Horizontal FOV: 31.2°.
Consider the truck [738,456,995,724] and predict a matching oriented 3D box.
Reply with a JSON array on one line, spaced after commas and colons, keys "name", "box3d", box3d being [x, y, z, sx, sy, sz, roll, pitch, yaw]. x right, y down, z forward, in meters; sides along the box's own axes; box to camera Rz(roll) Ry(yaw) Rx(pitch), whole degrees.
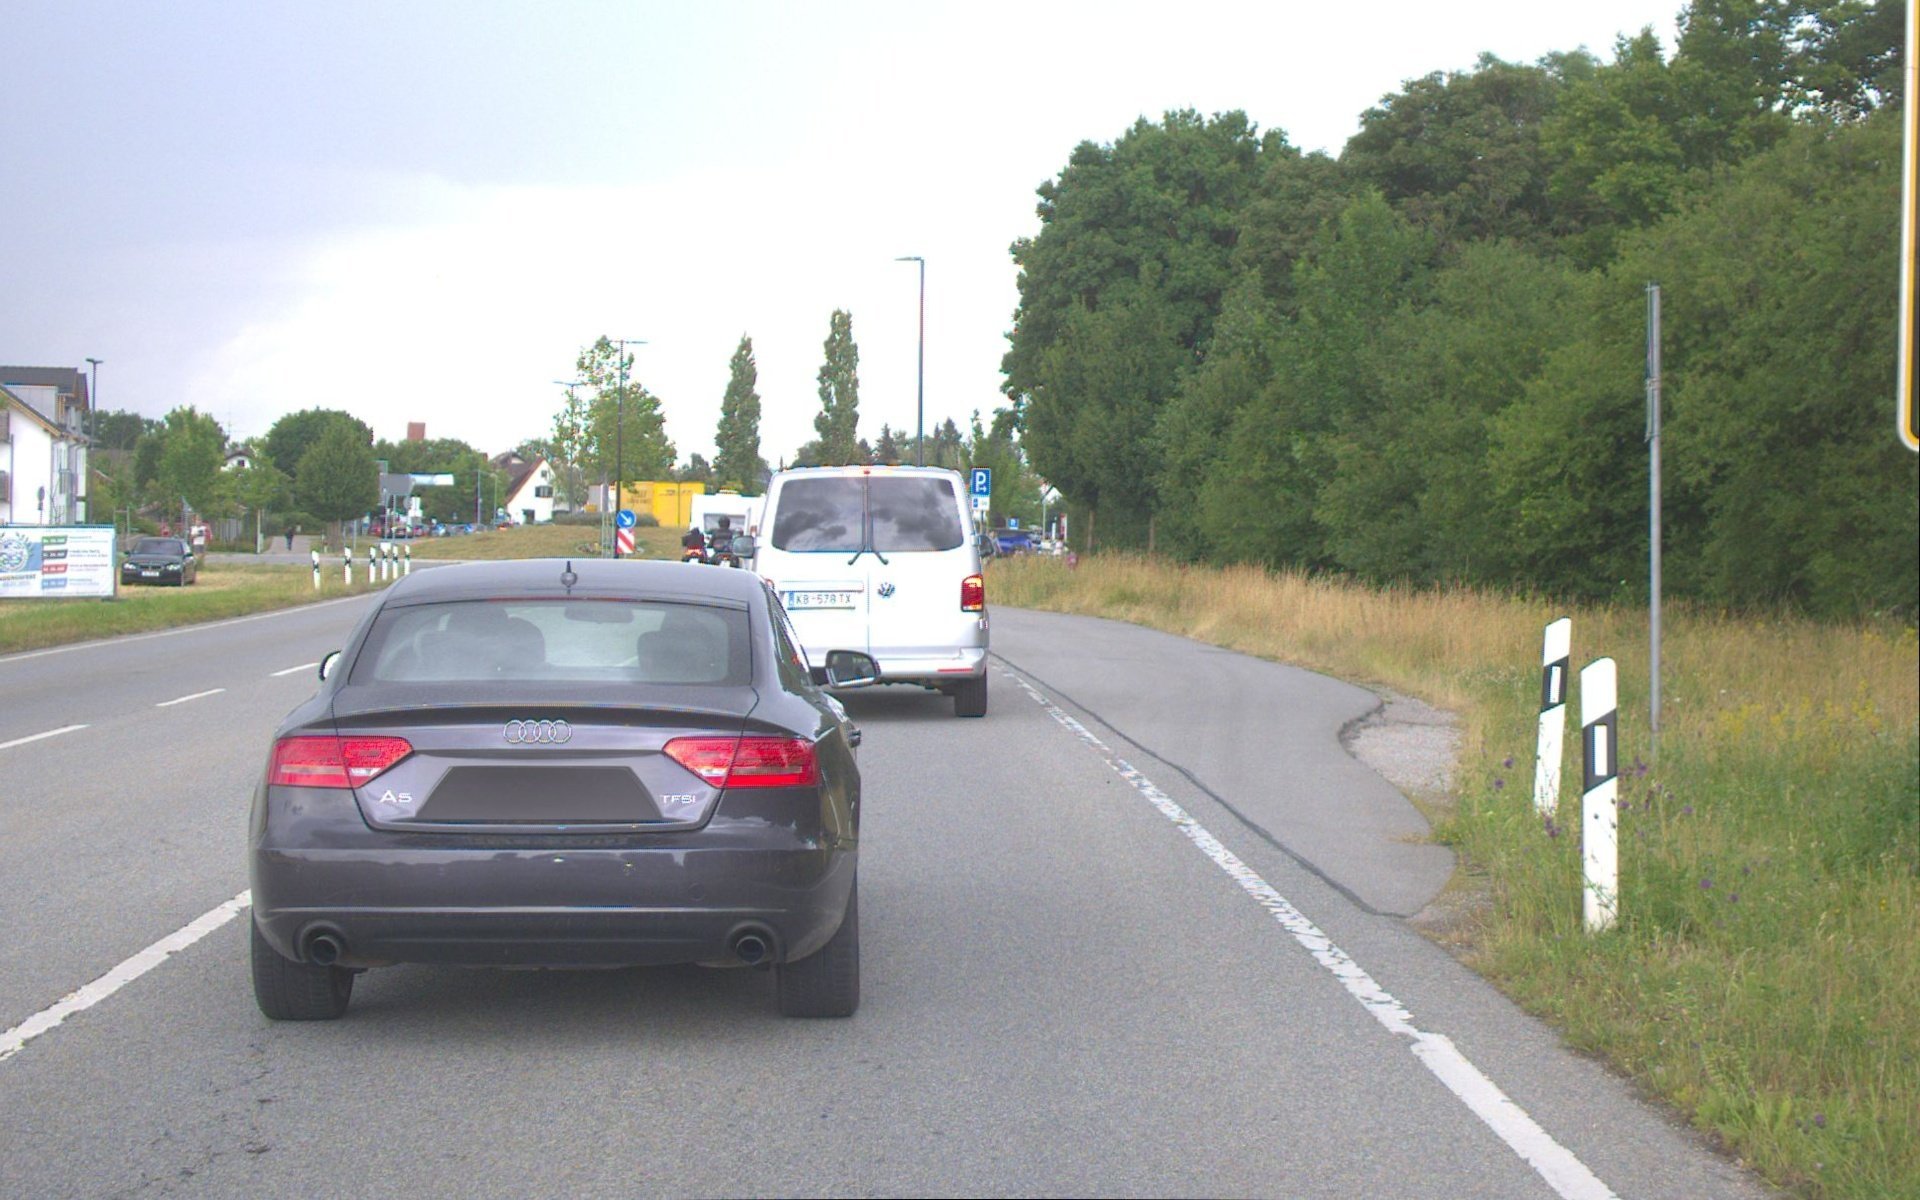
[{"name": "truck", "box3d": [-0.776, -0.127, 28.110, 1.904, 1.991, 4.629, 1, 1, -2]}]

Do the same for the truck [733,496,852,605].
[{"name": "truck", "box3d": [-3.196, -0.968, 66.505, 2.193, 2.007, 5.085, 1, 1, -2]}]

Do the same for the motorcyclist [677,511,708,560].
[{"name": "motorcyclist", "box3d": [-7.515, -1.819, 96.600, 0.785, 1.352, 0.854, 1, 1, -8]}]

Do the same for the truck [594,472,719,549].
[{"name": "truck", "box3d": [-15.032, -4.454, 169.362, 3.575, 3.566, 9.960, 1, 2, -20]}]

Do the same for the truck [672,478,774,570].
[{"name": "truck", "box3d": [-7.476, -2.371, 107.837, 2.625, 2.728, 5.869, 1, 1, -9]}]

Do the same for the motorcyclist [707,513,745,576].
[{"name": "motorcyclist", "box3d": [-5.209, -1.243, 76.646, 0.772, 1.379, 0.820, 1, 1, -1]}]

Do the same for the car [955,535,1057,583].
[{"name": "car", "box3d": [2.029, -1.811, 151.247, 3.990, 2.007, 1.998, 2, 1, 18]}]

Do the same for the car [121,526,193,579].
[{"name": "car", "box3d": [-23.285, -1.385, 99.712, 1.993, 1.437, 4.002, 1, 2, -13]}]

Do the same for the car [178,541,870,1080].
[{"name": "car", "box3d": [-1.281, 0.539, 11.459, 1.875, 1.449, 4.177, 0, 1, -3]}]

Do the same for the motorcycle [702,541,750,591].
[{"name": "motorcycle", "box3d": [-5.217, -0.766, 76.770, 0.920, 1.090, 2.189, 1, 1, -1]}]

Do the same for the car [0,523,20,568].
[{"name": "car", "box3d": [-32.576, -1.779, 111.789, 1.995, 1.441, 4.208, 1, 1, 16]}]

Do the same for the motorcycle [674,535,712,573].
[{"name": "motorcycle", "box3d": [-7.503, -1.298, 96.515, 0.944, 1.016, 2.284, 1, 1, -8]}]
